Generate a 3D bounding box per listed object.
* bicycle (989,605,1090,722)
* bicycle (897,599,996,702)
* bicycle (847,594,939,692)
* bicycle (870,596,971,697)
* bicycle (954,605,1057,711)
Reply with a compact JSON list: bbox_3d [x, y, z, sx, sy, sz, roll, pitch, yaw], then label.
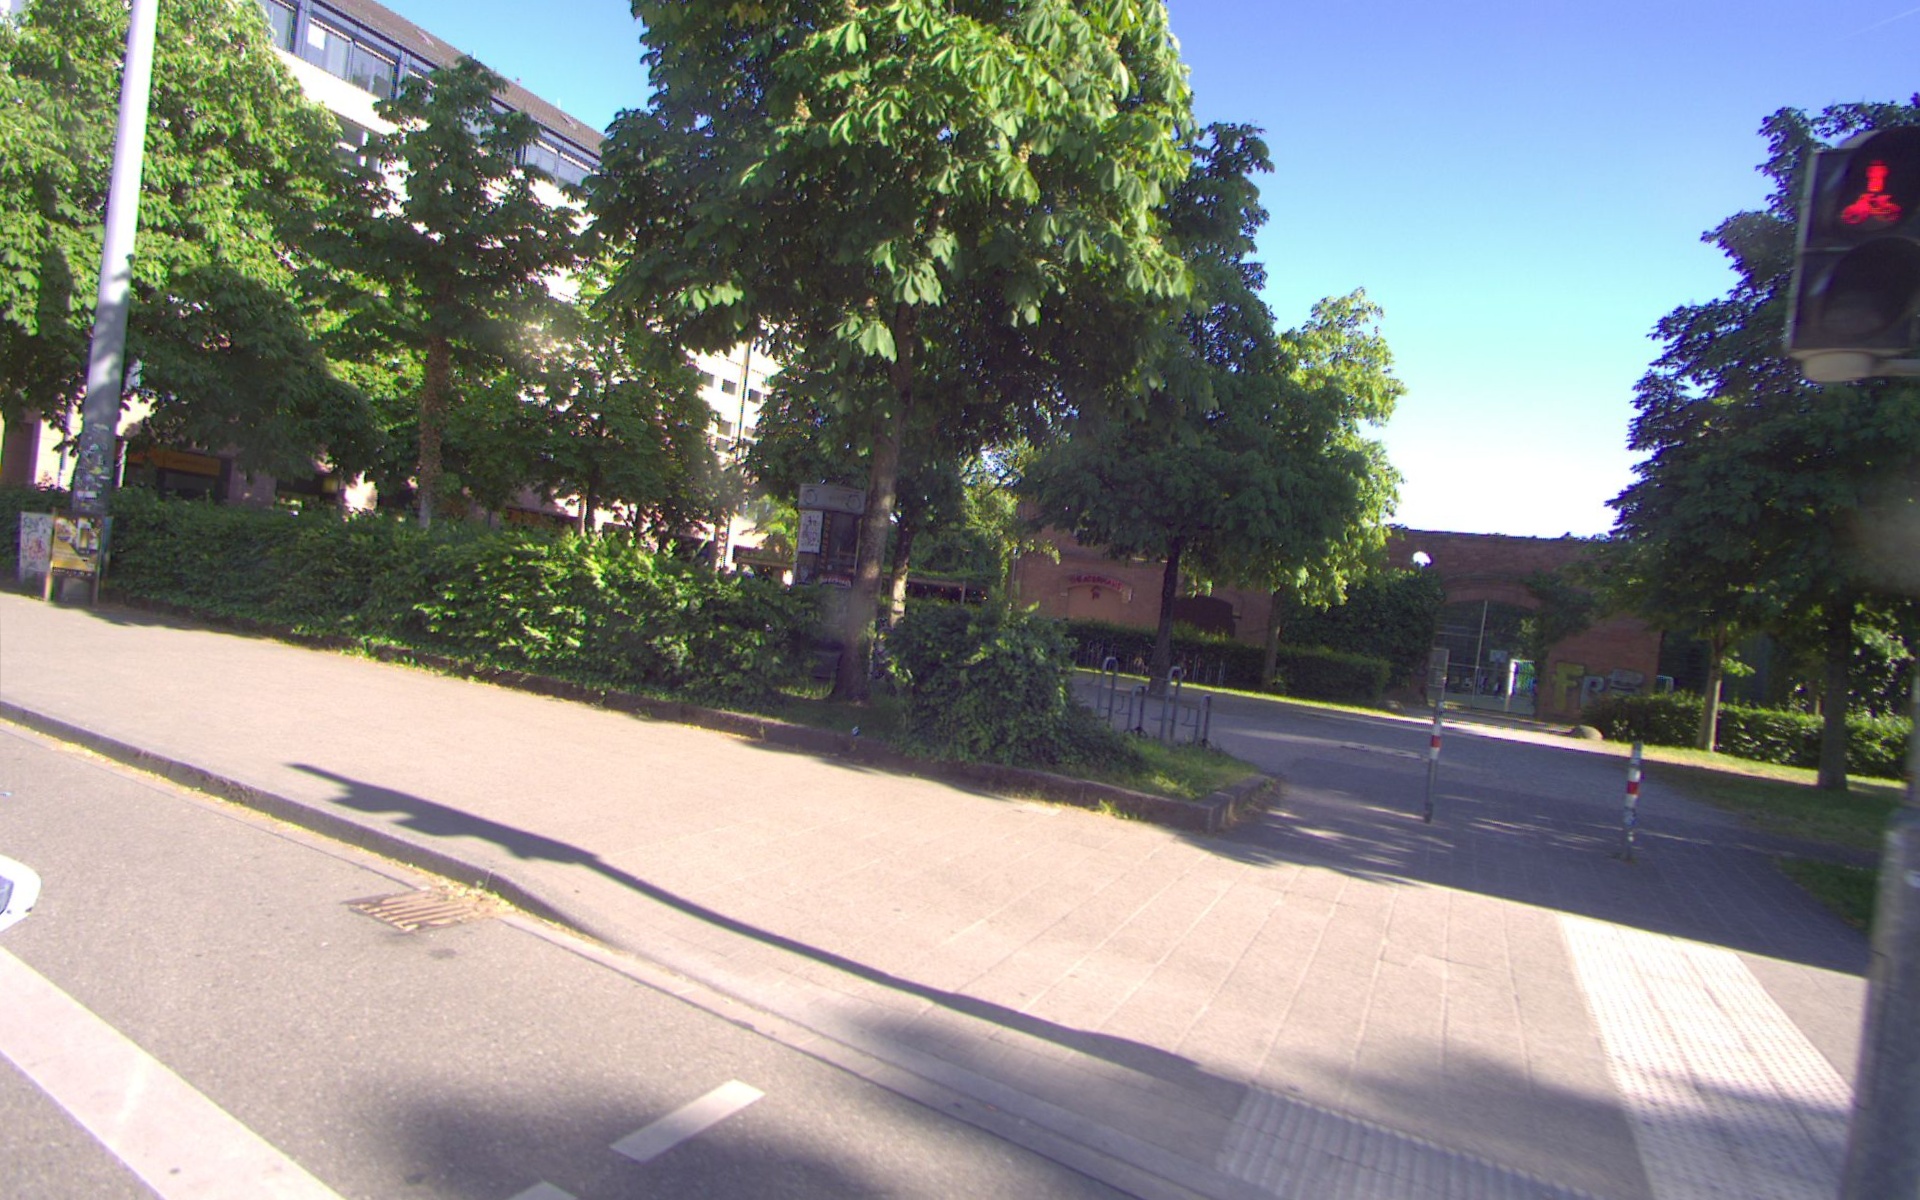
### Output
[{"bbox_3d":[1.032,0.791,12.675,0.365,1.351,1.653,9,3,33],"label":"bicycle"},{"bbox_3d":[-0.150,0.674,13.360,0.365,1.257,1.621,6,1,33],"label":"bicycle"},{"bbox_3d":[-0.892,0.584,13.815,0.376,1.244,1.681,6,1,26],"label":"bicycle"},{"bbox_3d":[-0.503,0.625,13.540,0.365,1.257,1.675,6,1,33],"label":"bicycle"},{"bbox_3d":[0.619,0.749,13.008,0.365,1.257,1.754,7,1,33],"label":"bicycle"}]
